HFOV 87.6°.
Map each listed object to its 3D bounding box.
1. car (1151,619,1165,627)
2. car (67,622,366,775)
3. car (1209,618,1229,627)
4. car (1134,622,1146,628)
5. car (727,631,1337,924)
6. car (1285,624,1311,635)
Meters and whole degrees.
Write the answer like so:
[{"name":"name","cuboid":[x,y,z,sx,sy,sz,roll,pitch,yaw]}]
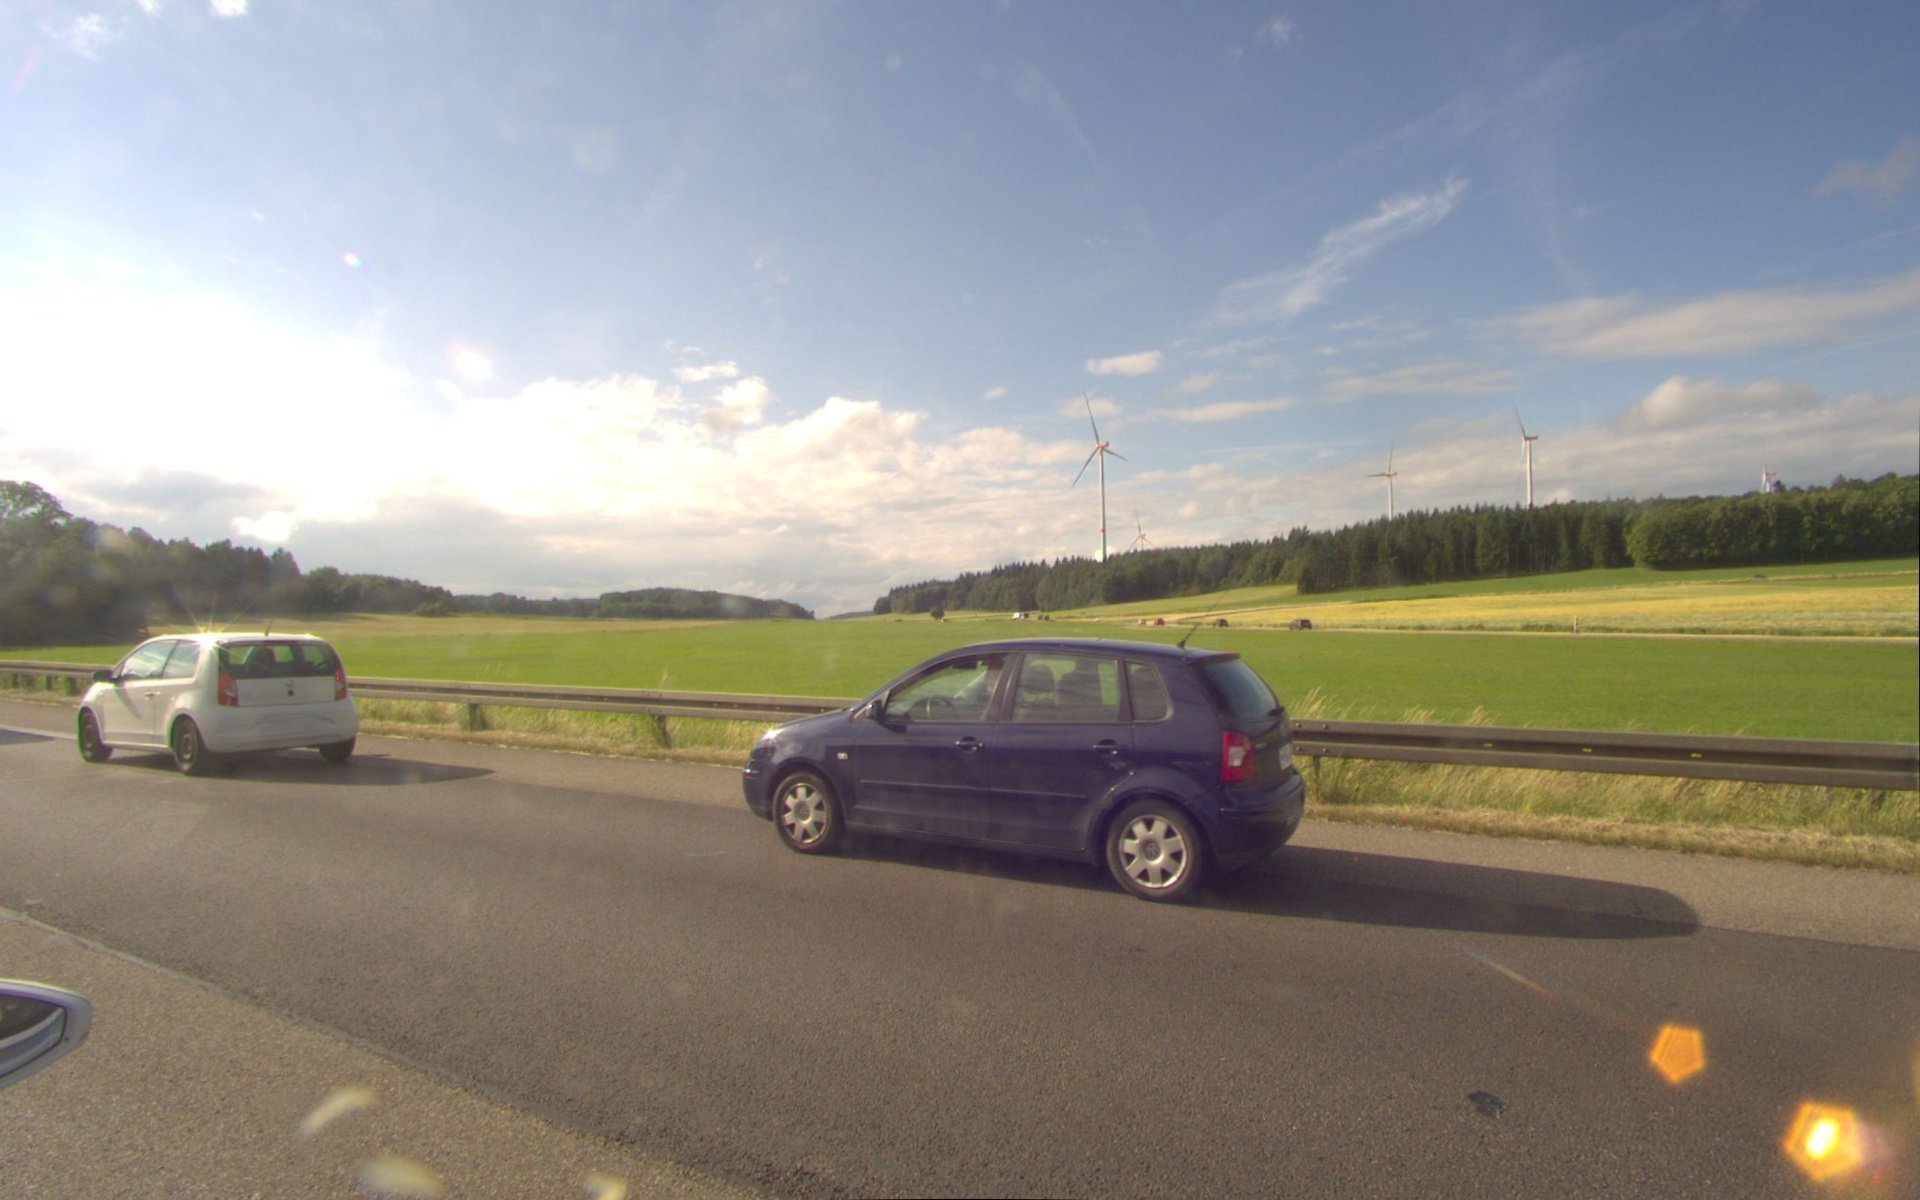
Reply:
[{"name":"car","cuboid":[42.663,4.945,215.579,1.803,1.505,4.221,0,-2,-6]},{"name":"car","cuboid":[-8.584,1.031,11.537,3.326,1.514,1.547,0,-1,29]},{"name":"car","cuboid":[43.848,3.811,169.597,1.803,1.505,4.221,0,-2,-6]},{"name":"car","cuboid":[43.529,6.124,242.460,1.803,1.505,4.288,0,-2,-6]},{"name":"car","cuboid":[0.419,0.951,6.692,3.718,1.464,1.708,-1,-2,30]},{"name":"car","cuboid":[45.436,3.980,134.659,1.803,1.505,4.221,0,-2,-6]}]
